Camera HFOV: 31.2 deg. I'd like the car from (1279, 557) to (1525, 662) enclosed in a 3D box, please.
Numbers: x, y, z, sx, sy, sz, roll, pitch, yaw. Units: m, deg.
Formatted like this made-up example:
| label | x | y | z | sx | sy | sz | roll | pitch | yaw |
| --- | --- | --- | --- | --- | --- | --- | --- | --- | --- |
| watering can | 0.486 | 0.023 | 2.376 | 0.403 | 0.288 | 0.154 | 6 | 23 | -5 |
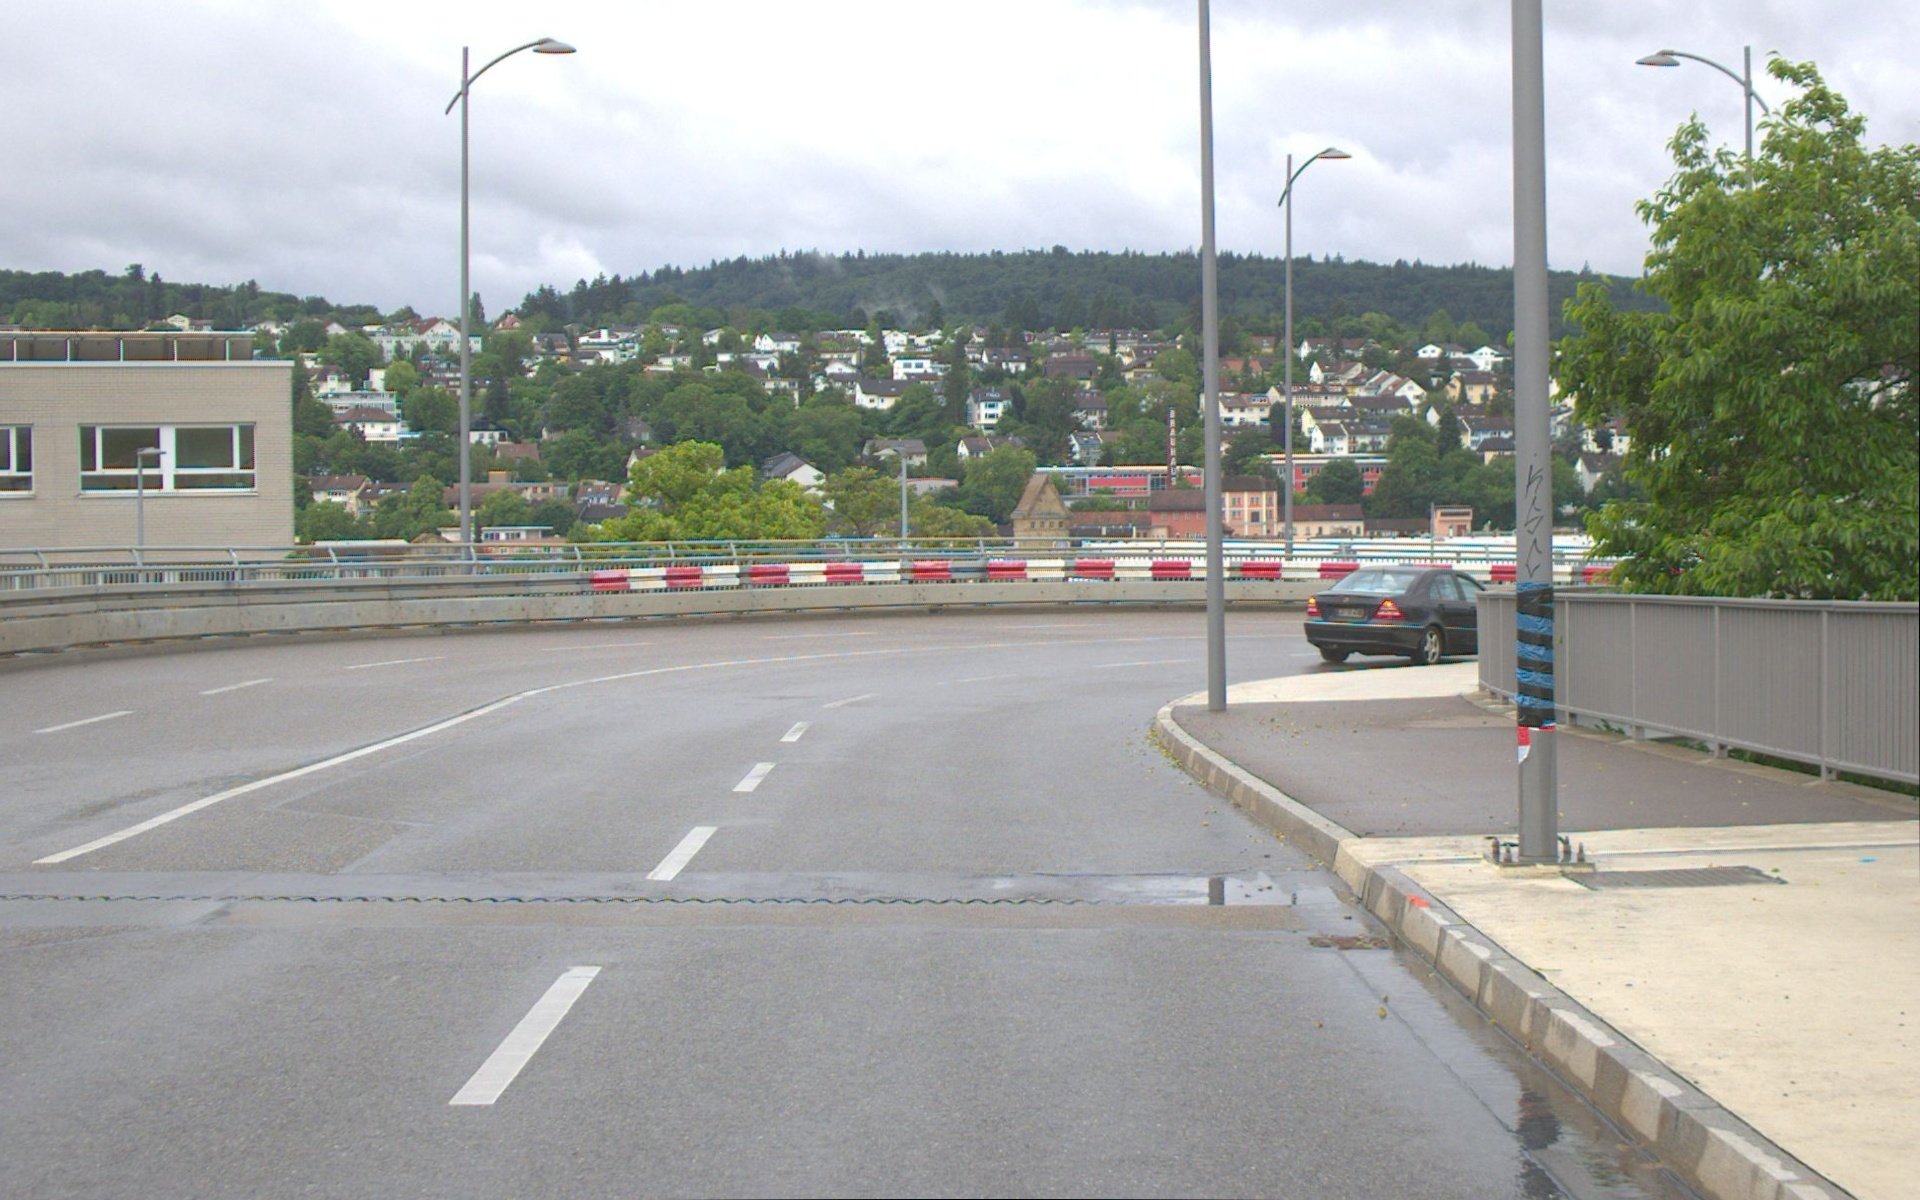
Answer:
| label | x | y | z | sx | sy | sz | roll | pitch | yaw |
| --- | --- | --- | --- | --- | --- | --- | --- | --- | --- |
| car | 6.319 | 0.106 | 48.919 | 1.710 | 1.415 | 3.717 | 2 | 1 | 40 |
